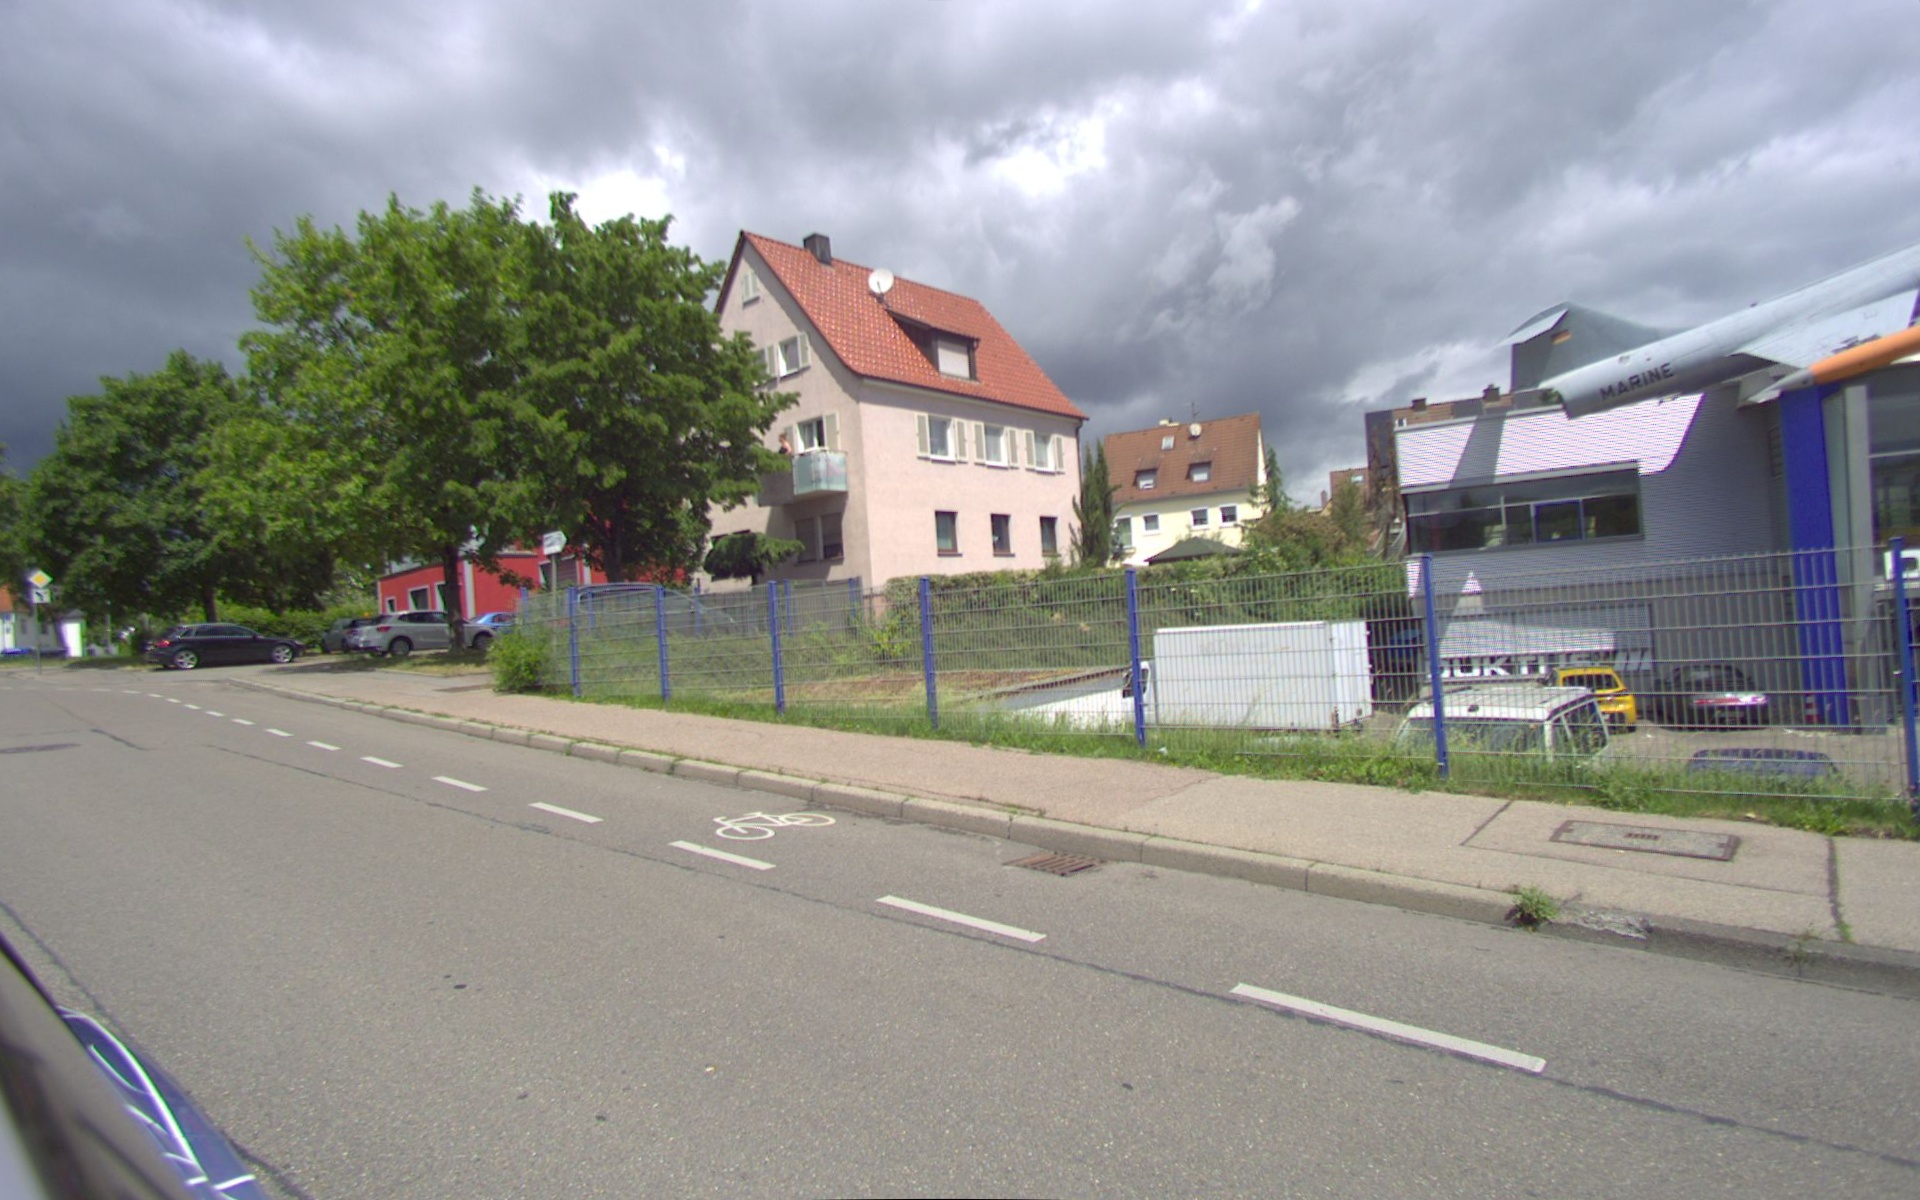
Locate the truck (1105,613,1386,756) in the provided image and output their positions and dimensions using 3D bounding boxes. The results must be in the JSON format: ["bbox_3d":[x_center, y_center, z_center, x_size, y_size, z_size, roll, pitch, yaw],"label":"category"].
[{"bbox_3d":[6.617,1.842,23.986,5.882,2.895,2.431,-2,0,43],"label":"truck"}]

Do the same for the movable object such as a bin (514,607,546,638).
[{"bbox_3d":[-15.336,0.809,36.080,0.881,1.069,0.747,-2,1,45],"label":"movable object such as a bin"}]

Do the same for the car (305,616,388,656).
[{"bbox_3d":[-24.866,1.480,40.977,4.075,1.436,1.623,-3,1,40],"label":"car"}]

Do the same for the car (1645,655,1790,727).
[{"bbox_3d":[17.253,2.048,23.262,1.868,1.308,3.964,-4,-2,26],"label":"car"}]

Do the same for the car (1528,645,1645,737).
[{"bbox_3d":[15.064,2.144,24.545,1.868,1.541,3.966,-7,1,26],"label":"car"}]

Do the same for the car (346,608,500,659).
[{"bbox_3d":[-16.978,1.045,32.133,1.873,1.414,3.883,-3,-1,37],"label":"car"}]

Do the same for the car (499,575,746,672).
[{"bbox_3d":[-7.125,0.411,21.774,1.998,1.729,4.652,0,3,40],"label":"car"}]

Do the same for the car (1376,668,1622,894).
[{"bbox_3d":[6.702,1.970,12.381,1.997,2.029,3.949,-2,-1,38],"label":"car"}]

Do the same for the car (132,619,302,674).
[{"bbox_3d":[-24.065,1.477,32.889,1.999,1.404,4.088,-3,1,41],"label":"car"}]

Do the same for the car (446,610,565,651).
[{"bbox_3d":[-17.490,1.154,39.036,1.842,1.388,3.762,-4,-1,41],"label":"car"}]
